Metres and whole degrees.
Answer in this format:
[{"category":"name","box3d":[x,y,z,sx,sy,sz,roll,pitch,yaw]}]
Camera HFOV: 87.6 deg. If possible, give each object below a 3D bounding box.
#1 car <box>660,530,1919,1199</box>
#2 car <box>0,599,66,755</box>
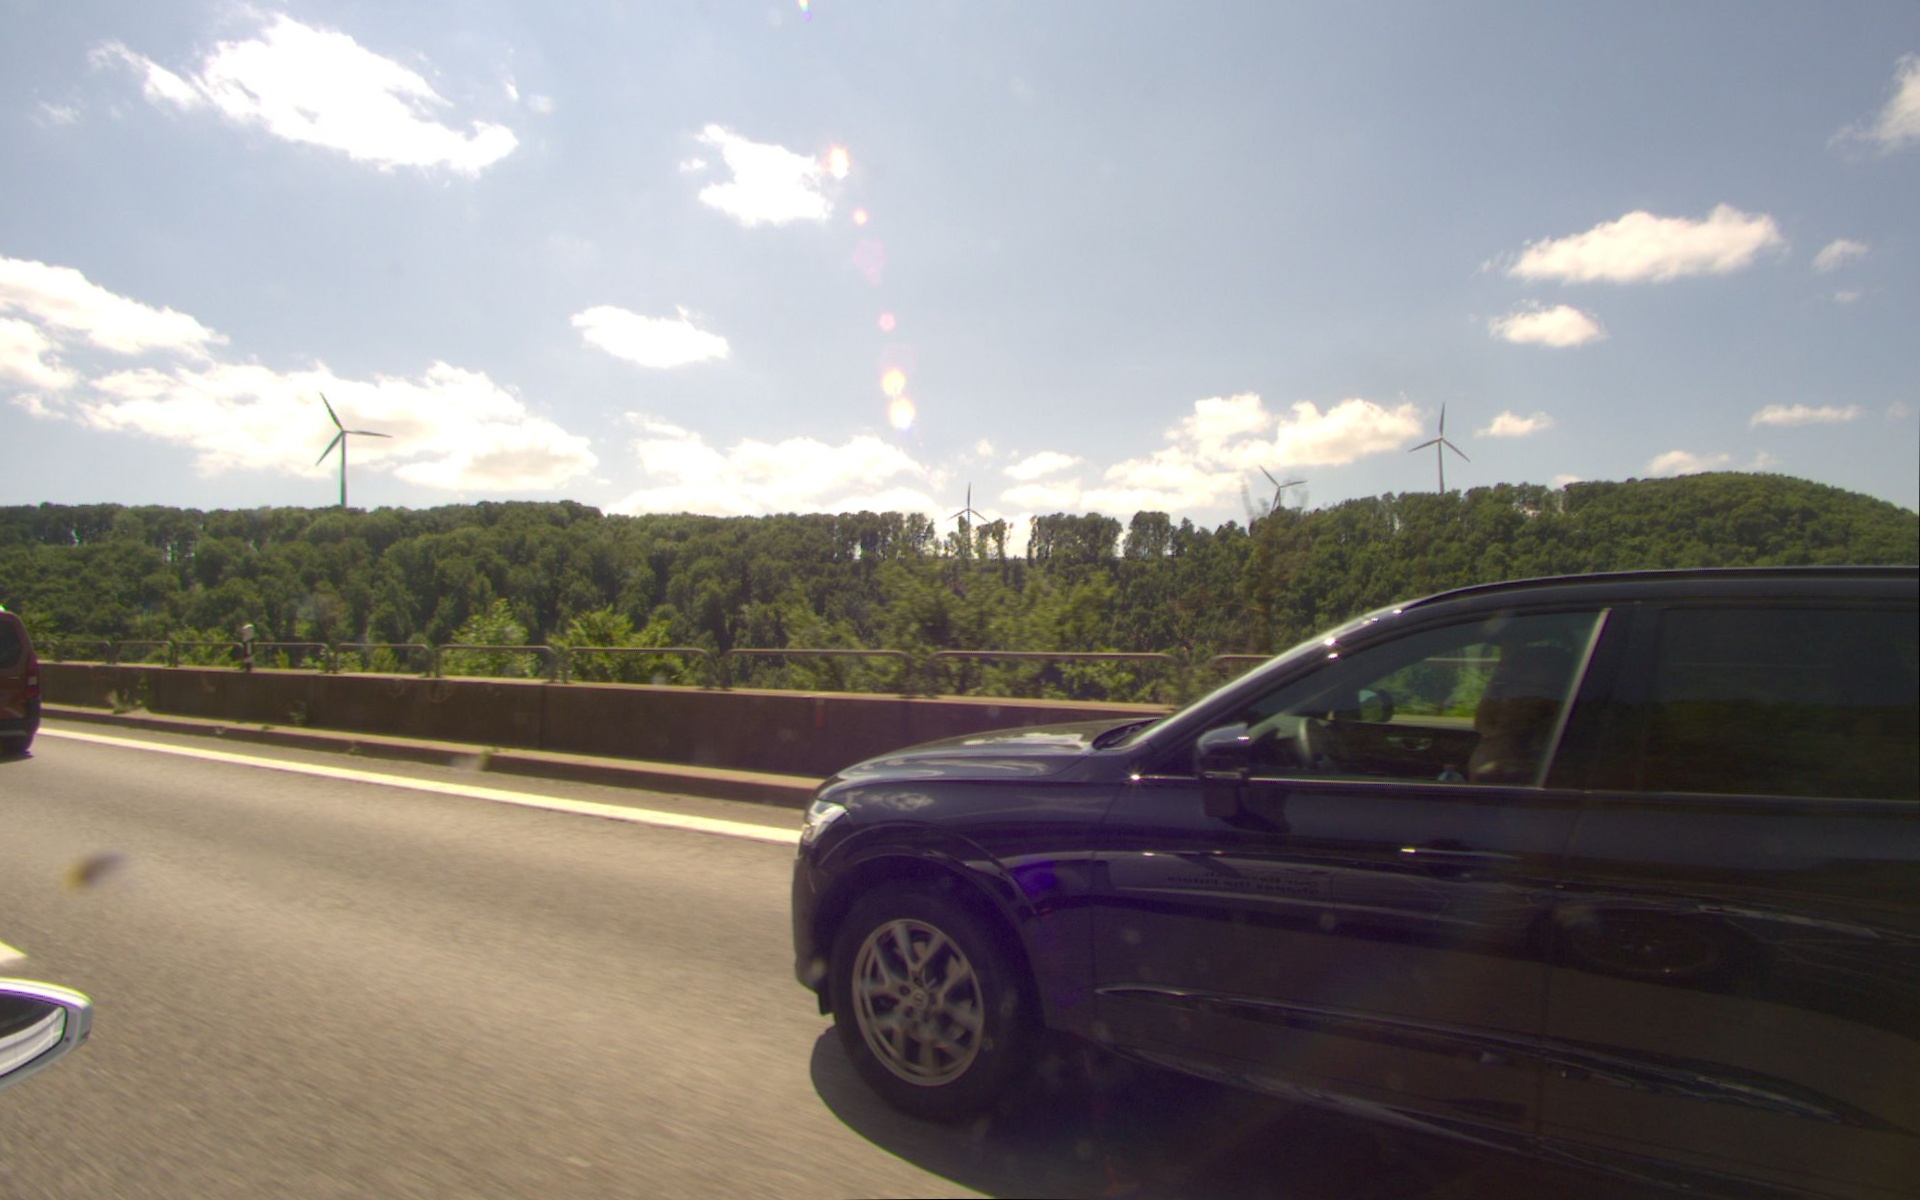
[{"category":"car","box3d":[1.383,0.738,3.083,4.594,1.654,1.832,-1,-2,31]},{"category":"car","box3d":[-13.280,0.940,12.525,4.607,1.807,1.830,-1,-1,31]}]
